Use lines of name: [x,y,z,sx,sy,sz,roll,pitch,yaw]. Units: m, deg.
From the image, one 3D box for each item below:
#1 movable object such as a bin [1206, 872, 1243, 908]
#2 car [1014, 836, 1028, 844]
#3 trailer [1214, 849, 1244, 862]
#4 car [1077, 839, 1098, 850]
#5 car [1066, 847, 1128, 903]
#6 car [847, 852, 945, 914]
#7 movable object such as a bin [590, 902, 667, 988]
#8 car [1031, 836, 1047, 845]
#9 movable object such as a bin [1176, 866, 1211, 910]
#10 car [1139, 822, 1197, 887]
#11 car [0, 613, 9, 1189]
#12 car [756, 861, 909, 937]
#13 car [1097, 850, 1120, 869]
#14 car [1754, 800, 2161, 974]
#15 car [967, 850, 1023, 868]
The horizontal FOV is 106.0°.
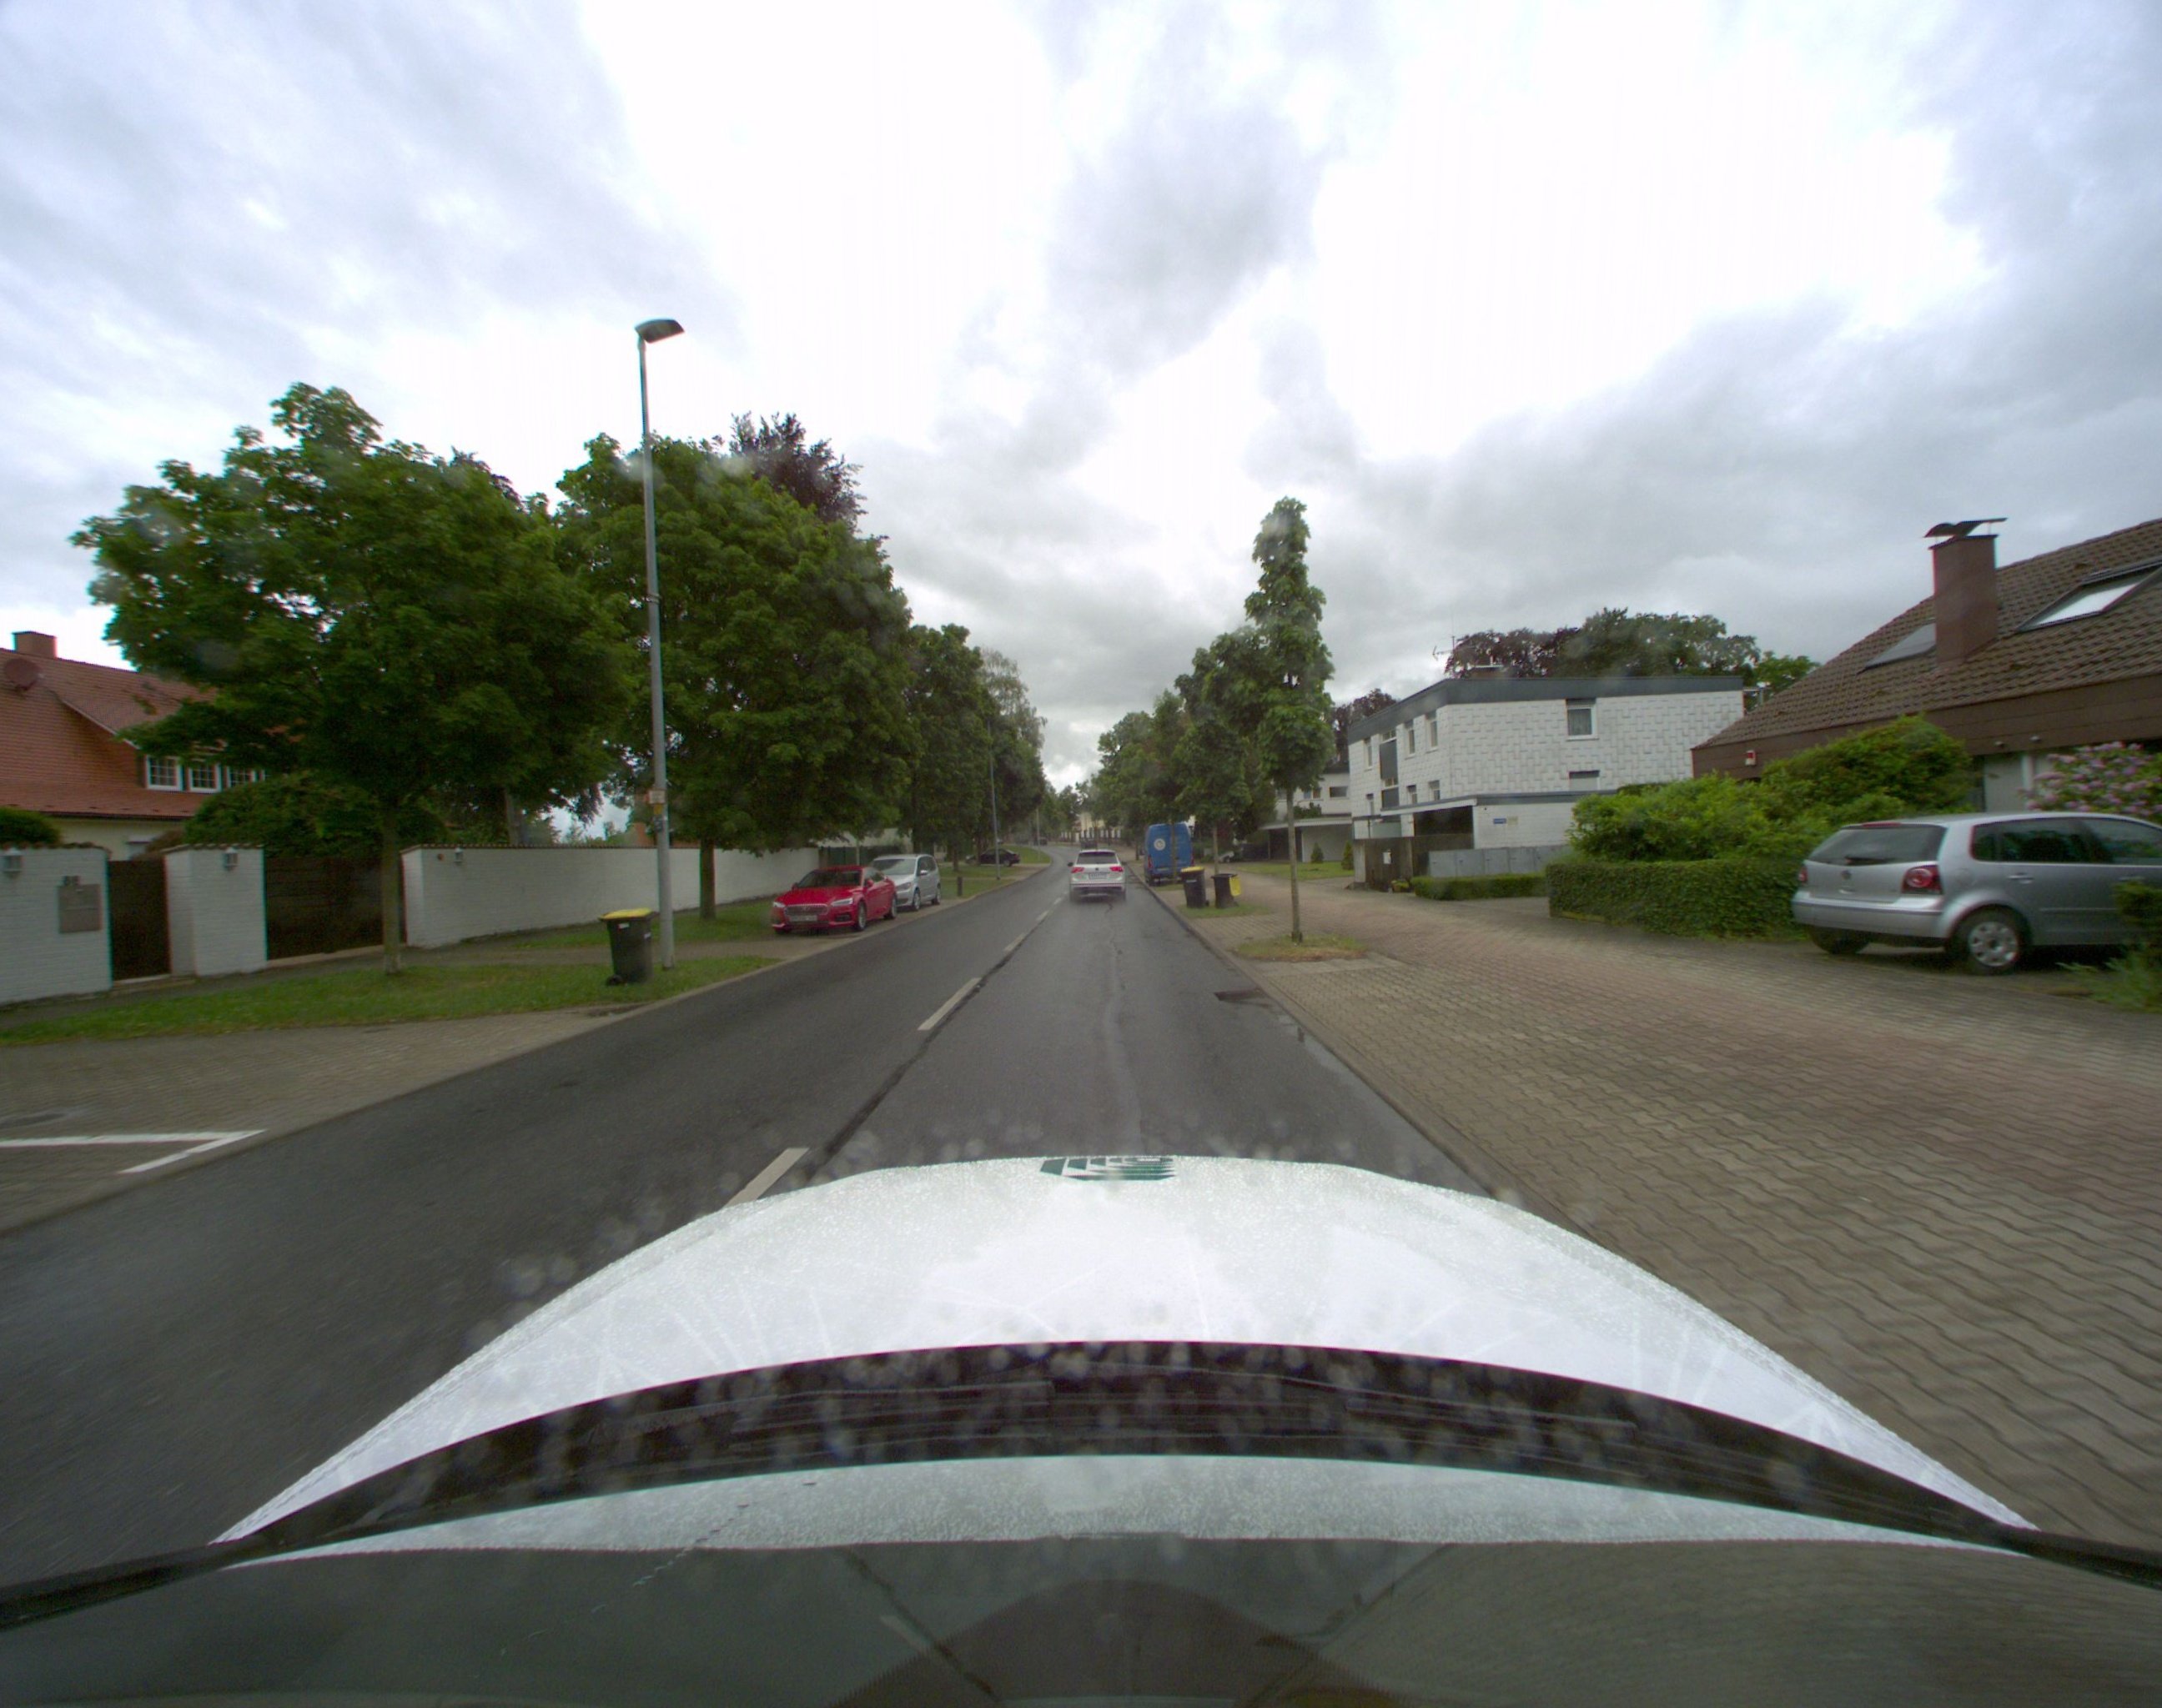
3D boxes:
movable object such as a bin: [3.516,0.886,19.928,0.653,0.800,0.604,-6,-1,26]
car: [-10.975,-2.535,148.749,1.645,1.427,3.979,-1,1,-15]
trailer: [10.841,0.113,59.692,2.033,0.883,1.366,-1,0,4]
car: [0.879,-1.359,111.143,1.647,1.427,3.976,-1,1,-18]
car: [0.496,0.681,27.468,1.859,1.651,3.998,-3,-1,-1]
car: [-5.383,0.790,24.285,1.749,1.627,4.235,-2,0,2]
movable object such as a bin: [-5.414,1.080,9.765,0.555,0.953,0.550,-2,0,5]
car: [-6.885,-2.184,133.512,1.648,1.427,3.974,-1,1,-20]
movable object such as a bin: [2.846,0.862,20.637,0.608,1.015,0.566,-7,-2,26]
car: [3.829,0.014,36.913,1.986,2.586,5.635,-4,0,1]
car: [-6.217,0.254,0.923,1.986,2.728,5.940,-1,0,2]
car: [-5.494,0.935,18.712,1.986,1.403,4.558,-2,0,1]
car: [2.435,0.477,72.960,1.763,1.551,3.999,-2,0,-1]
car: [9.451,0.259,8.046,3.970,1.442,1.849,-3,-1,3]
car: [-6.929,0.397,65.728,4.197,1.363,1.693,-1,0,5]
